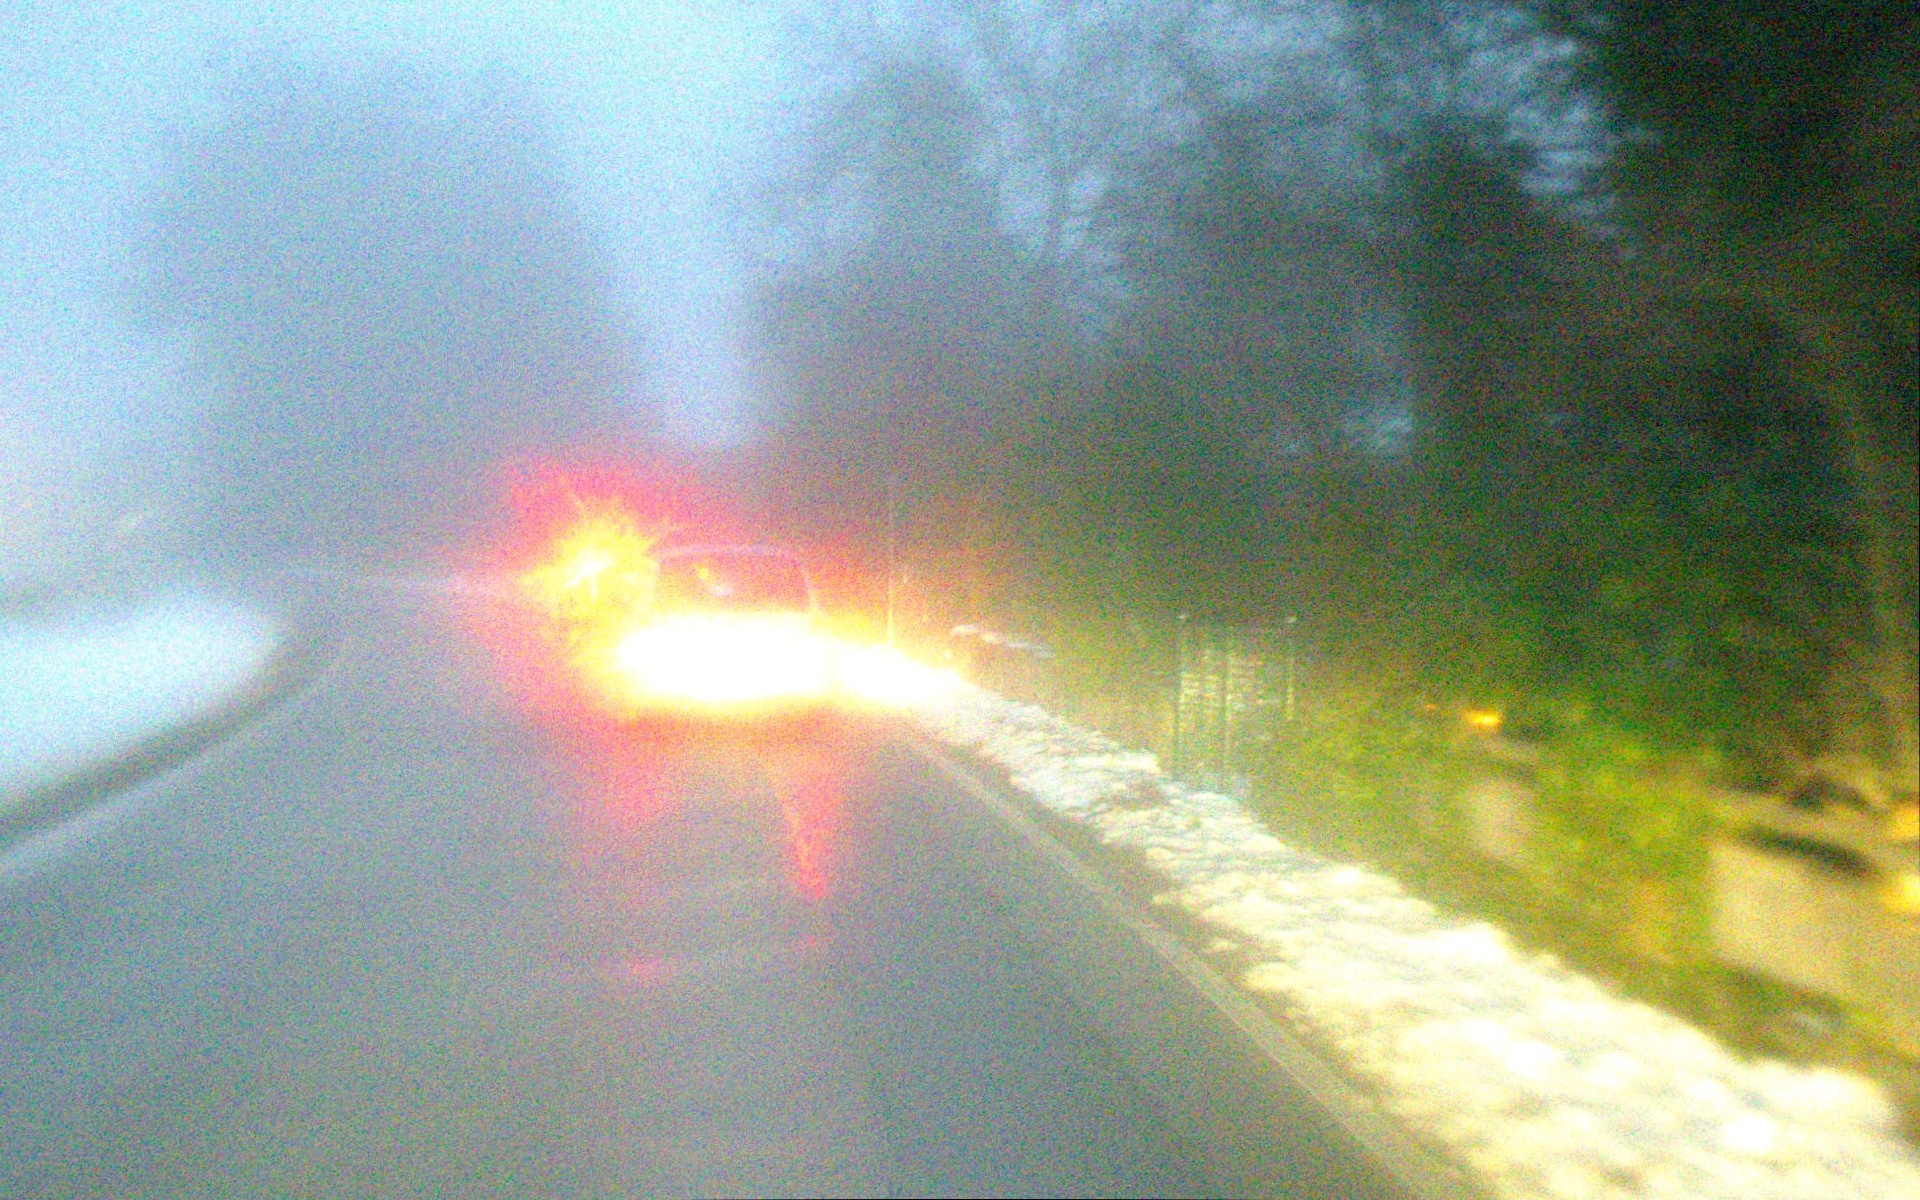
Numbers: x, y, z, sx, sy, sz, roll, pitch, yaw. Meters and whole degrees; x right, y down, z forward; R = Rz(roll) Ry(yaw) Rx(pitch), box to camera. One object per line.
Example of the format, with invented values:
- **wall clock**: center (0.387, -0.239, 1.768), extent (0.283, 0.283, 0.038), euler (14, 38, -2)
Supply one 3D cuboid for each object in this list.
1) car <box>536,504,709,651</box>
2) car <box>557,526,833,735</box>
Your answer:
- **car**: center (-4.191, -0.284, 43.256), extent (1.993, 1.744, 4.001), euler (1, 1, -3)
- **car**: center (-2.016, 0.206, 27.058), extent (1.993, 1.503, 4.000), euler (1, 1, -2)
